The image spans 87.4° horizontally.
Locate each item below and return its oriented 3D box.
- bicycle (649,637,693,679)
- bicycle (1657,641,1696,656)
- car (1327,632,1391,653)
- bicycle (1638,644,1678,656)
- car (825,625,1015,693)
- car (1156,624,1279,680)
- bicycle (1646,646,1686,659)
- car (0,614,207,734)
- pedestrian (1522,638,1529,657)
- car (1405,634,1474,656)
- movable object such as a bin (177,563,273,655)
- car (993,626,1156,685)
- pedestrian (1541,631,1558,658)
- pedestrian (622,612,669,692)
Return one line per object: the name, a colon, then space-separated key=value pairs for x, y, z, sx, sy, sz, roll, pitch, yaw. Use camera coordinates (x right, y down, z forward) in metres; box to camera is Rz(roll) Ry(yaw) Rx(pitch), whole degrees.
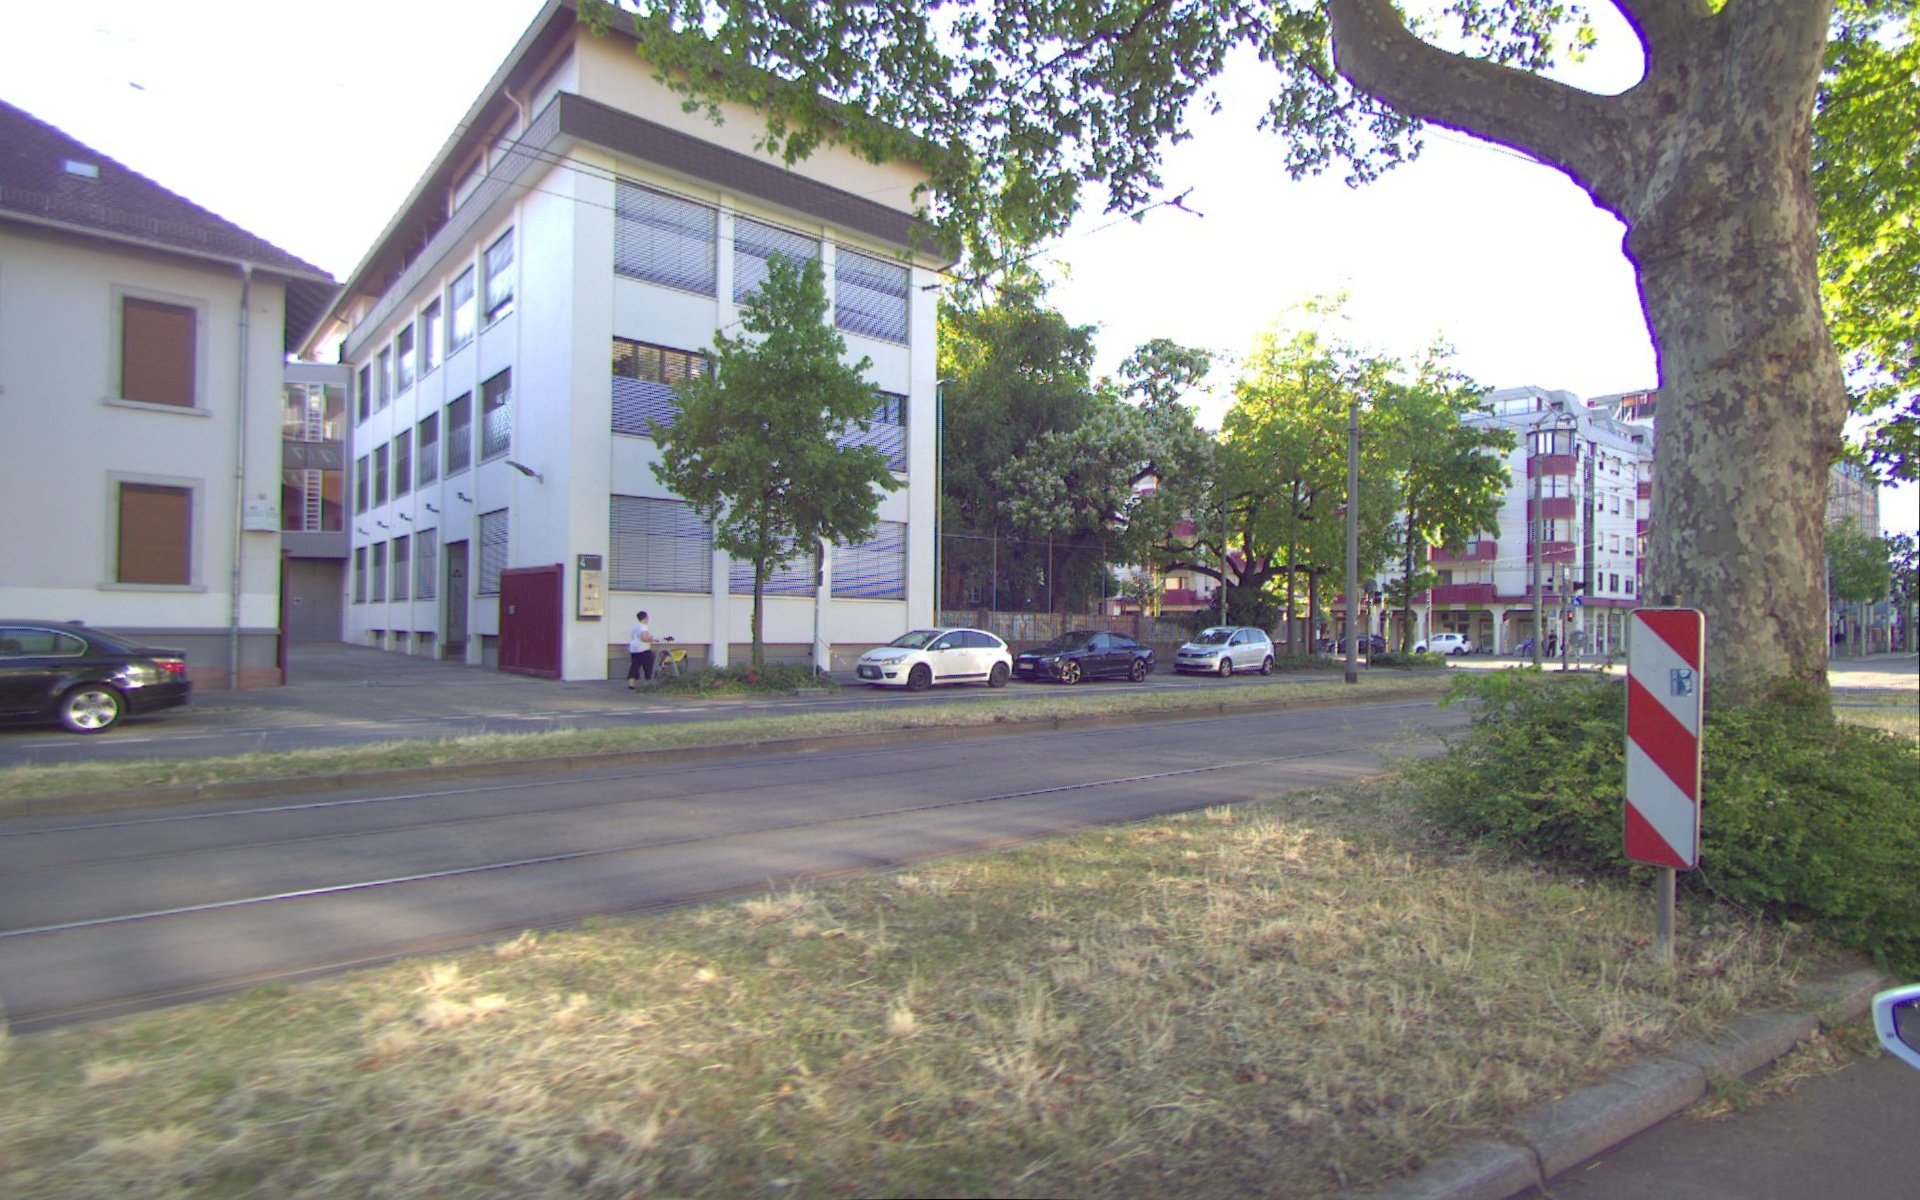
bicycle: x=-7.068 y=1.404 z=24.566 sx=1.011 sy=1.015 sz=0.300 roll=2 pitch=-2 yaw=-42
bicycle: x=49.638 y=3.355 z=69.615 sx=0.488 sy=0.963 sz=2.149 roll=2 pitch=-2 yaw=-42
car: x=28.500 y=3.033 z=71.749 sx=3.939 sy=1.483 sz=1.794 roll=-2 pitch=-3 yaw=39
bicycle: x=47.330 y=3.397 z=68.115 sx=0.636 sy=0.797 sz=2.149 roll=2 pitch=-2 yaw=-42
car: x=-0.902 y=1.377 z=24.413 sx=4.373 sy=1.490 sz=1.976 roll=2 pitch=-2 yaw=-42
car: x=8.459 y=1.660 z=32.855 sx=4.147 sy=1.711 sz=1.976 roll=2 pitch=-2 yaw=-42
bicycle: x=48.063 y=3.576 z=68.402 sx=0.488 sy=0.797 sz=2.149 roll=2 pitch=-2 yaw=-42
car: x=-13.024 y=0.949 z=13.364 sx=4.688 sy=1.533 sz=1.976 roll=2 pitch=-2 yaw=-41
pedestrian: x=36.991 y=3.121 z=65.693 sx=0.316 sy=1.230 sz=0.300 roll=2 pitch=-2 yaw=-45
car: x=32.592 y=3.053 z=68.338 sx=3.939 sy=1.483 sz=1.794 roll=-2 pitch=-3 yaw=39
movable object such as a bin: x=-27.086 y=0.250 z=36.900 sx=2.271 sy=3.043 sz=6.042 roll=2 pitch=1 yaw=-41
car: x=3.267 y=1.496 z=28.006 sx=4.615 sy=1.495 sz=1.976 roll=2 pitch=-2 yaw=-42
pedestrian: x=37.111 y=2.814 z=63.226 sx=1.027 sy=1.684 sz=0.701 roll=2 pitch=-2 yaw=-44
pedestrian: x=-6.679 y=1.089 z=21.344 sx=0.628 sy=1.642 sz=0.727 roll=1 pitch=-1 yaw=45
